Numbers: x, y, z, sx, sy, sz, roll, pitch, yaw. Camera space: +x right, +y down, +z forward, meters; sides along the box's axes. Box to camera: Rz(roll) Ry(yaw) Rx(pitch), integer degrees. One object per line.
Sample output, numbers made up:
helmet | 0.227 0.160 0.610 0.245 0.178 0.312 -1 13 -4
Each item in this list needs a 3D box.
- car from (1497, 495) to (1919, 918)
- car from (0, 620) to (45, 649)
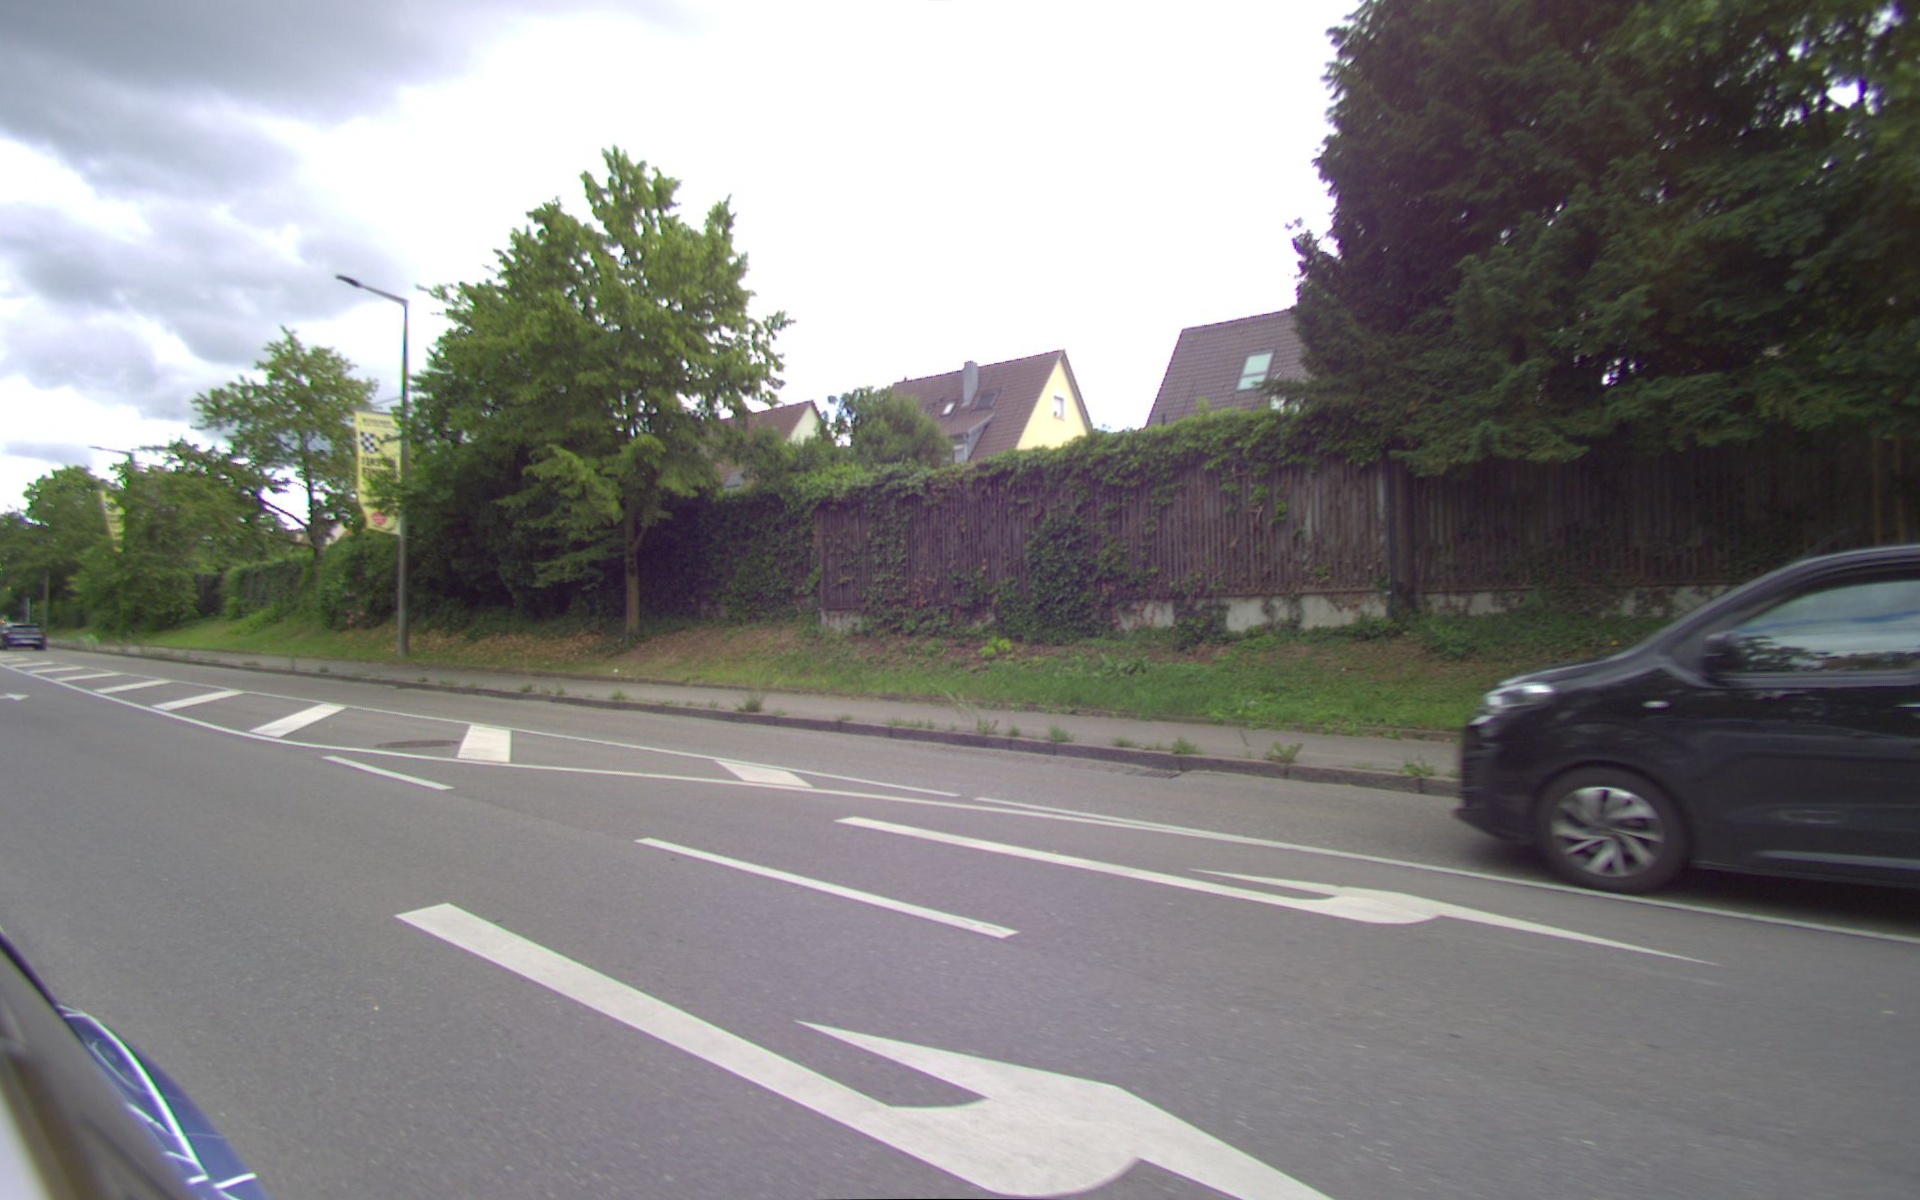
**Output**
car | 5.395 0.499 4.897 4.684 1.919 1.785 -1 -3 39
car | -49.118 1.788 52.769 4.007 1.433 1.636 -1 -3 42
